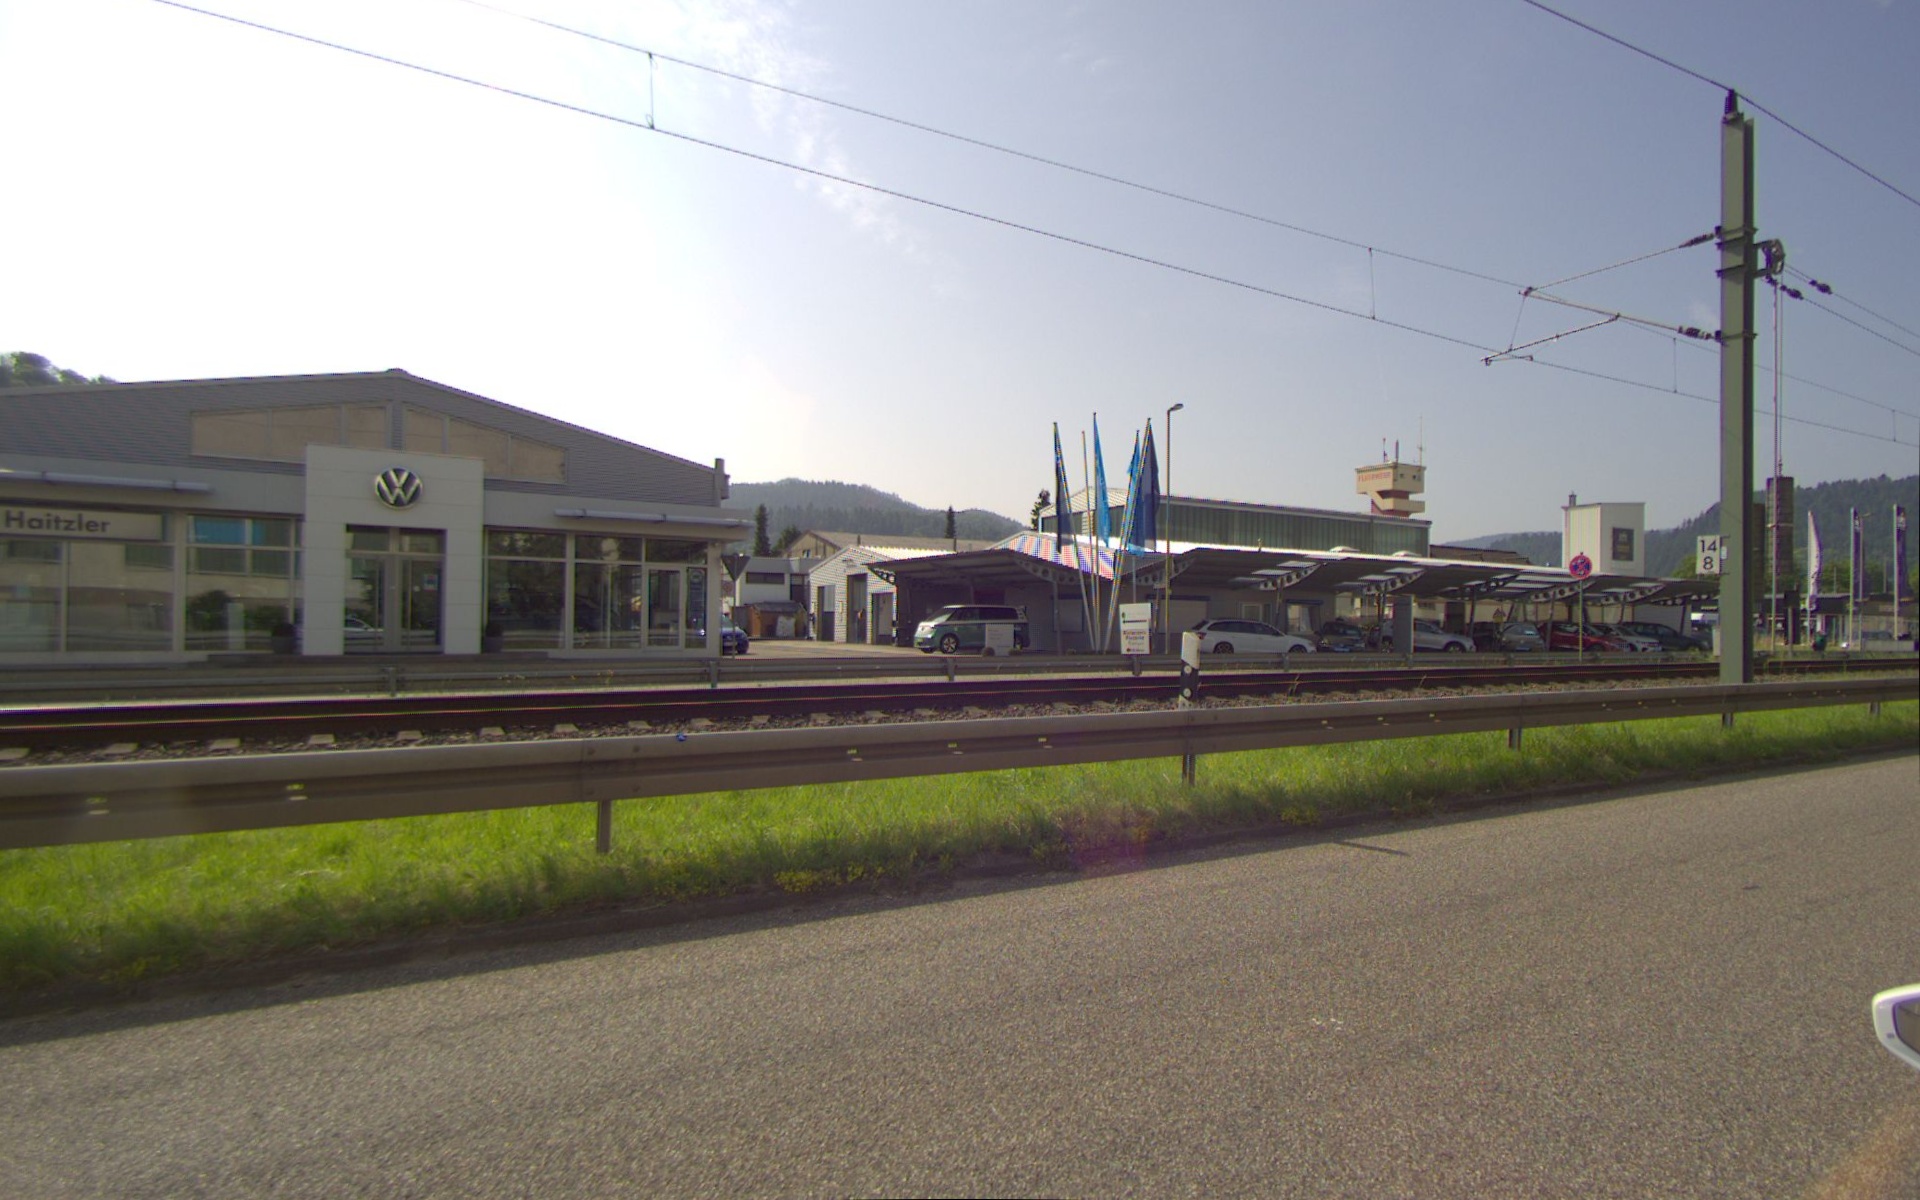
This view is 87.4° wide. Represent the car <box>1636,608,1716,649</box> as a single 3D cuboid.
[{"bbox_3d":[51.803,2.051,72.628,6.088,2.667,2.362,3,-2,-30],"label":"car"}]

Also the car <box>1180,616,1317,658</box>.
[{"bbox_3d":[10.396,1.331,36.412,4.433,1.404,1.848,1,-1,1],"label":"car"}]

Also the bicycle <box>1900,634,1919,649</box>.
[{"bbox_3d":[71.167,3.087,74.418,2.275,1.145,0.731,1,-1,7],"label":"bicycle"}]

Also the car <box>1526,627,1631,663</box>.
[{"bbox_3d":[28.986,2.072,47.192,1.484,1.343,3.937,1,2,-29],"label":"car"}]

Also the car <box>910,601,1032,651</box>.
[{"bbox_3d":[0.452,1.033,39.527,4.499,1.882,1.890,1,-1,-30],"label":"car"}]

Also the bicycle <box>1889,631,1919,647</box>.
[{"bbox_3d":[72.864,2.992,77.148,0.721,1.145,2.159,2,-1,-27],"label":"bicycle"}]

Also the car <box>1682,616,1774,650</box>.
[{"bbox_3d":[44.757,1.905,58.628,3.927,1.550,1.521,6,1,28],"label":"car"}]

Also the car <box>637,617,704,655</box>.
[{"bbox_3d":[-11.867,1.445,41.008,1.602,1.439,3.965,1,-1,-32],"label":"car"}]

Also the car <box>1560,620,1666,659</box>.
[{"bbox_3d":[31.489,1.873,48.556,1.643,1.548,3.937,1,2,-29],"label":"car"}]

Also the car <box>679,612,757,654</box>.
[{"bbox_3d":[-8.848,1.172,36.528,1.602,1.439,3.965,1,-1,-32],"label":"car"}]

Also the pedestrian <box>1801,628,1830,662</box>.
[{"bbox_3d":[45.782,2.403,53.757,0.820,1.757,0.804,1,-1,-6],"label":"pedestrian"}]

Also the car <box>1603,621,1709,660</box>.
[{"bbox_3d":[34.991,2.017,50.595,3.950,1.644,1.664,3,2,14],"label":"car"}]

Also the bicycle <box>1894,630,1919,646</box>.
[{"bbox_3d":[73.562,2.941,77.499,0.723,1.145,2.152,2,-1,-36],"label":"bicycle"}]

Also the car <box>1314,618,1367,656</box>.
[{"bbox_3d":[14.729,1.380,38.954,1.811,1.360,4.208,1,-1,20],"label":"car"}]

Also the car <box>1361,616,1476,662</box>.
[{"bbox_3d":[19.117,1.599,42.092,4.188,1.548,1.847,3,2,21],"label":"car"}]

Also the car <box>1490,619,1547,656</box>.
[{"bbox_3d":[25.096,1.646,45.282,1.812,1.525,4.432,1,-1,24],"label":"car"}]

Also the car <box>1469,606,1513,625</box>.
[{"bbox_3d":[38.383,1.129,72.654,3.453,1.315,1.443,1,-1,-36],"label":"car"}]
